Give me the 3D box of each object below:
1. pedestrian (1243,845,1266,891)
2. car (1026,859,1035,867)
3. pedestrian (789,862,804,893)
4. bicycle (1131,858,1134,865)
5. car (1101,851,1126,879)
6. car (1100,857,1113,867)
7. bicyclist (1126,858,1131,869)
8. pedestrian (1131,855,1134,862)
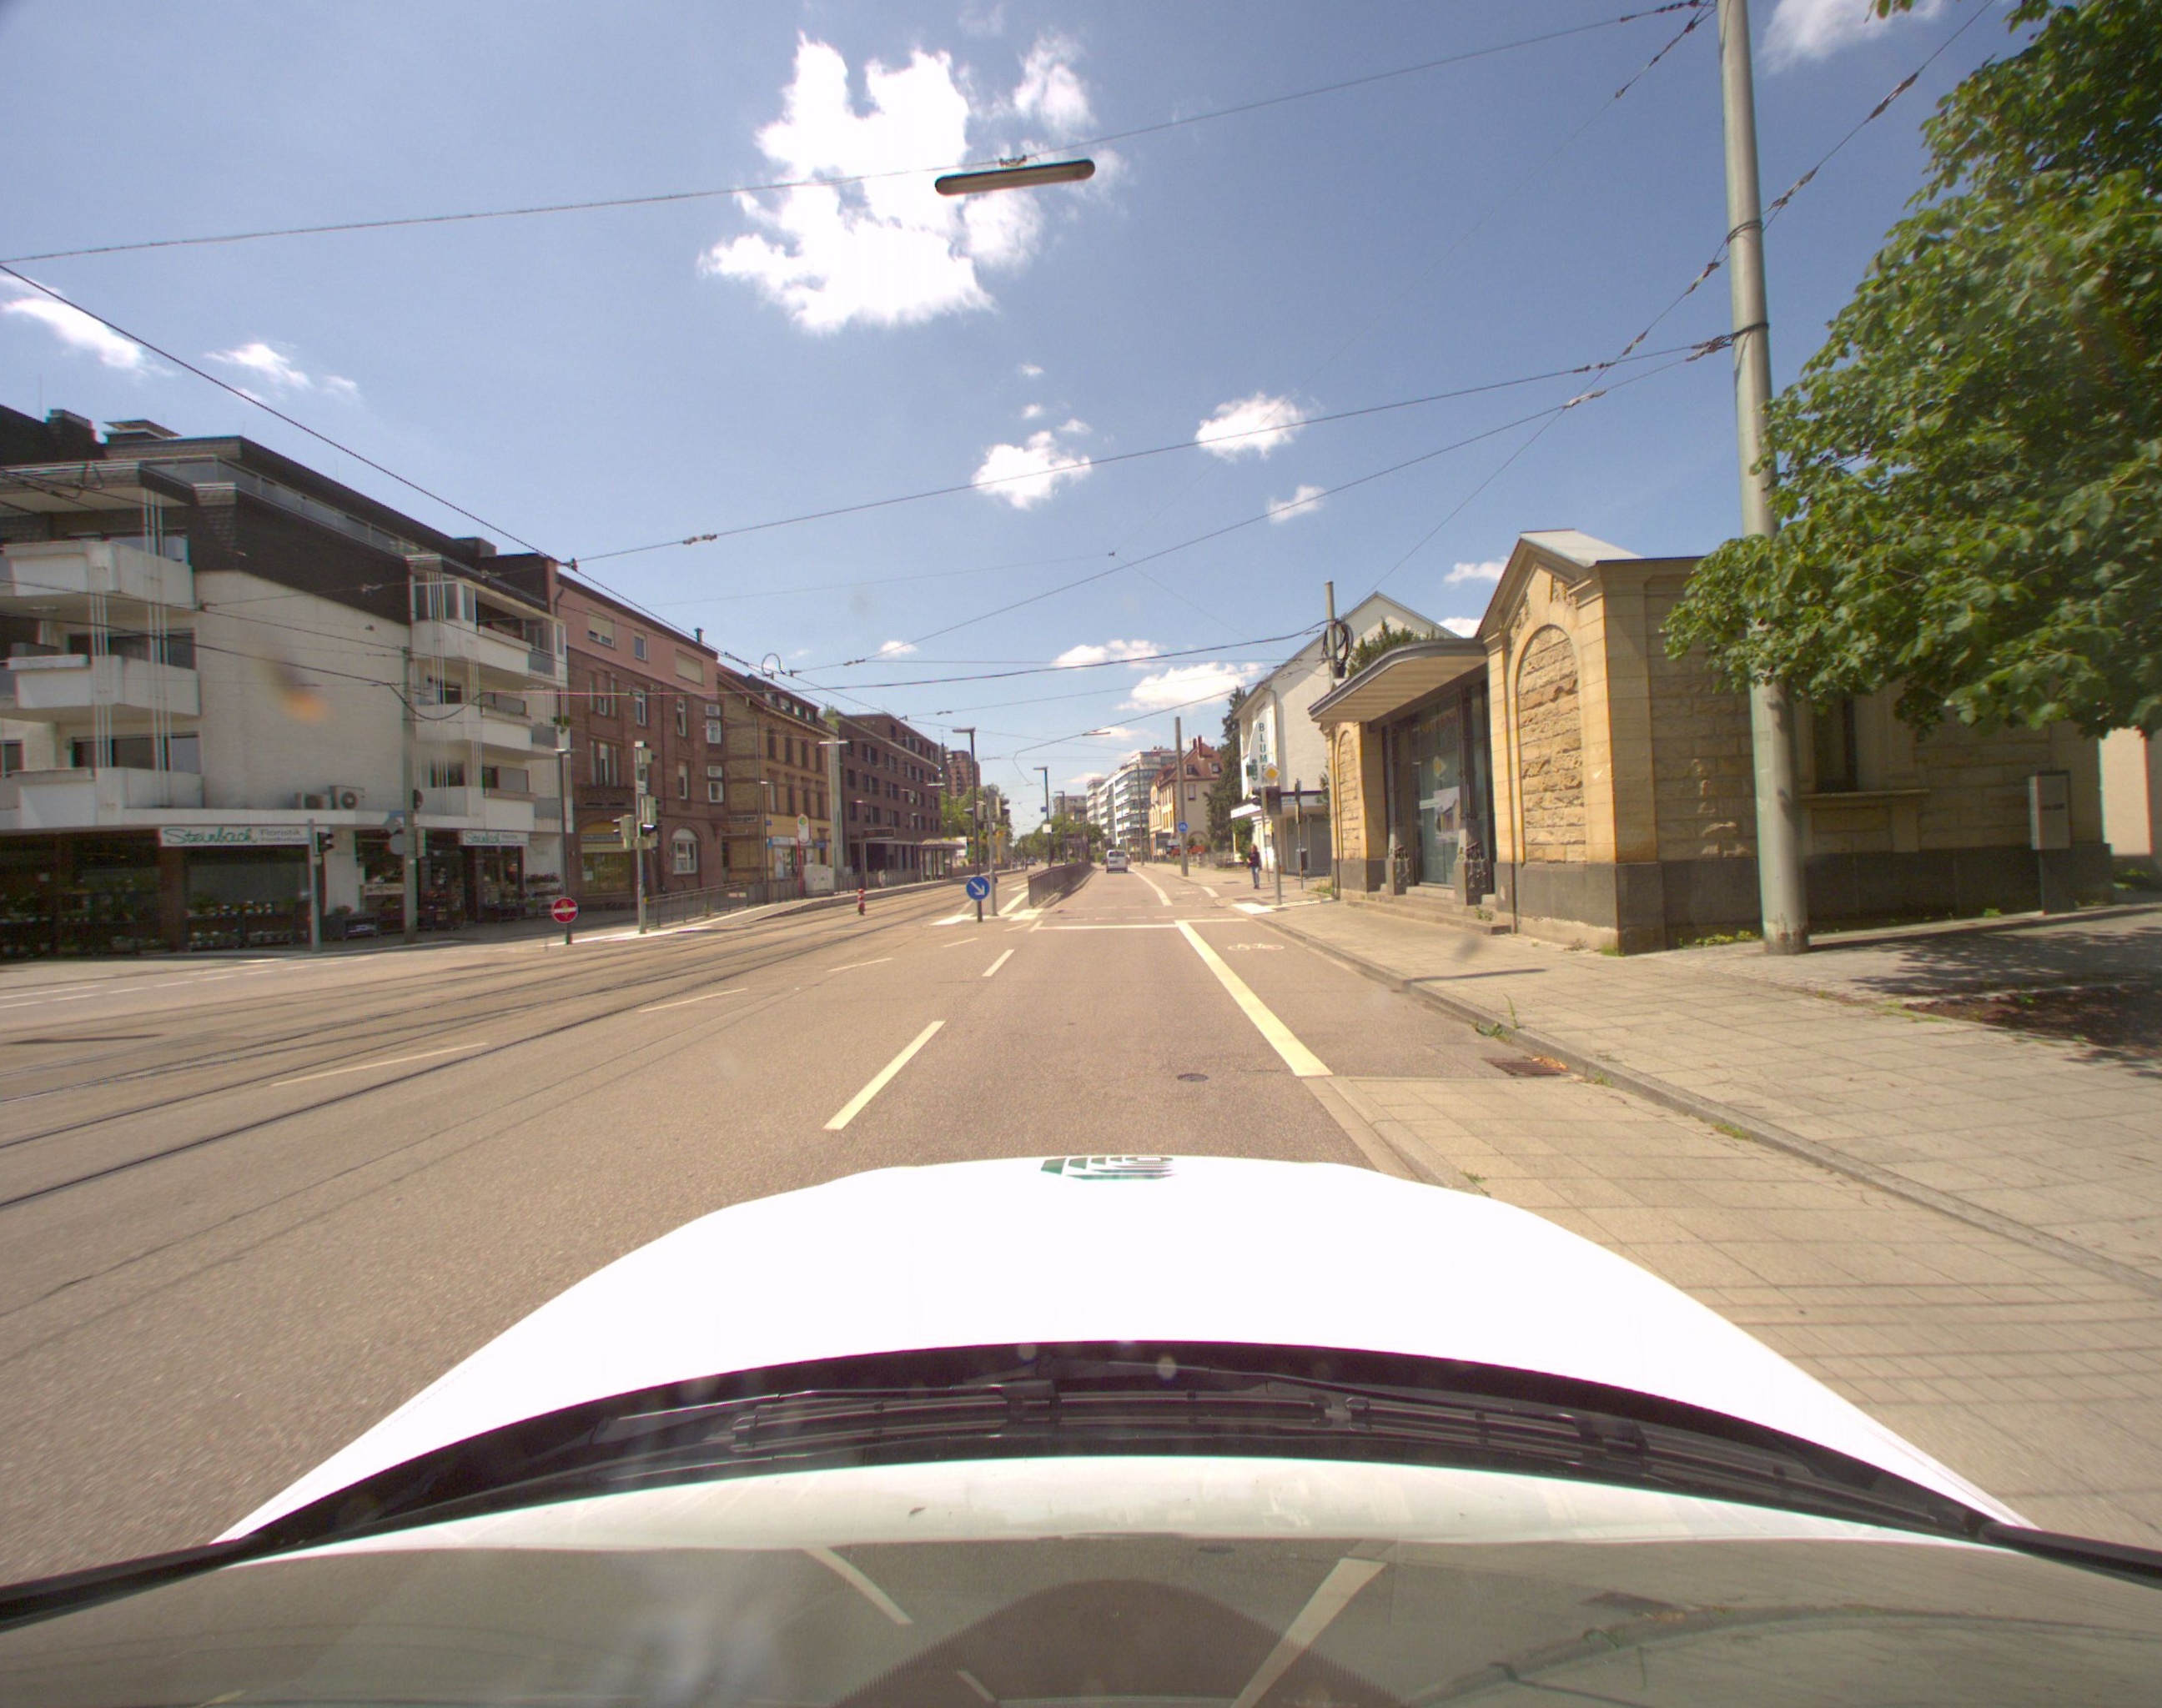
[{"bbox_3d":[6.159,0.496,28.963,0.574,1.556,0.787,-5,-1,5],"label":"pedestrian"},{"bbox_3d":[-11.111,1.949,178.205,1.696,1.616,3.750,-5,-2,-5],"label":"car"},{"bbox_3d":[-19.013,1.560,54.350,0.615,2.013,0.810,-3,-1,0],"label":"pedestrian"},{"bbox_3d":[7.812,1.150,122.711,0.355,0.940,1.318,-5,-1,3],"label":"bicycle"},{"bbox_3d":[2.596,0.857,66.054,1.747,2.013,3.999,-4,0,0],"label":"car"},{"bbox_3d":[4.710,1.537,149.149,1.859,1.687,4.994,-3,0,-3],"label":"car"},{"bbox_3d":[5.989,1.221,102.804,0.590,1.397,0.841,-2,0,-2],"label":"bicyclist"},{"bbox_3d":[7.776,0.664,122.737,0.481,1.053,0.537,-5,-1,3],"label":"pedestrian"}]
